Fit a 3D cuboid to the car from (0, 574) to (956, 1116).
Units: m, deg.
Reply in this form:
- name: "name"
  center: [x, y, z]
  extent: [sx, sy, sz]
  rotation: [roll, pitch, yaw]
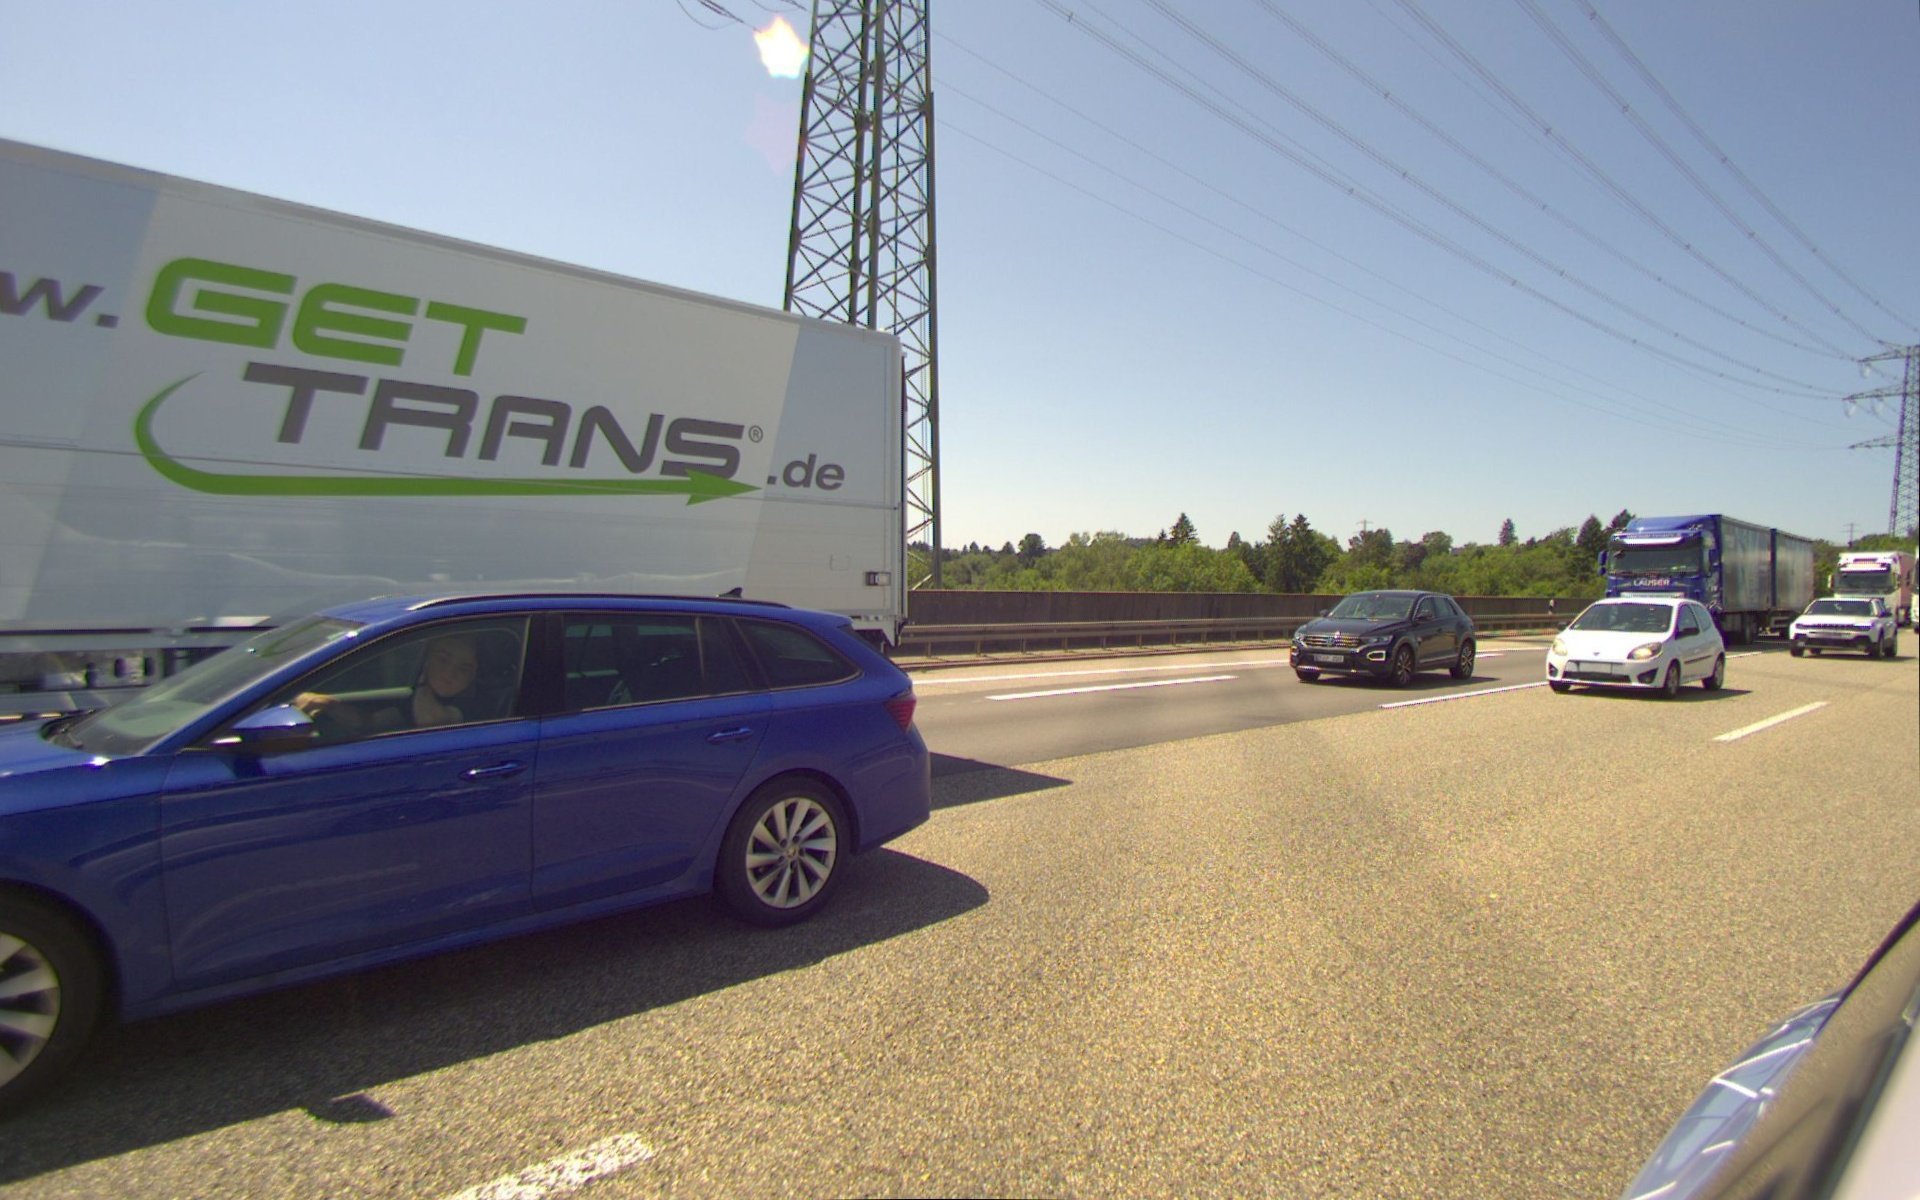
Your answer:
- name: "car"
  center: [-2.235, 0.646, 4.174]
  extent: [4.422, 1.458, 1.712]
  rotation: [0, 1, -41]

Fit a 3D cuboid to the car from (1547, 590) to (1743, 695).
- name: "car"
  center: [10.758, 0.581, 15.811]
  extent: [3.564, 1.458, 1.583]
  rotation: [0, 1, -39]

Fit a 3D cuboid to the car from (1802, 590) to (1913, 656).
- name: "car"
  center: [22.969, 0.526, 25.873]
  extent: [3.688, 1.554, 1.720]
  rotation: [0, 1, -42]

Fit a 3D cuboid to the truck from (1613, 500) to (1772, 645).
- name: "truck"
  center: [23.048, -0.782, 31.651]
  extent: [7.792, 4.018, 2.514]
  rotation: [0, 0, -43]

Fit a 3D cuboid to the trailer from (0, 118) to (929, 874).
- name: "trailer"
  center: [-4.230, -0.511, 7.145]
  extent: [8.149, 3.640, 2.848]
  rotation: [0, 0, -42]

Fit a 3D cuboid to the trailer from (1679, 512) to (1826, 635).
- name: "trailer"
  center: [29.871, -0.951, 37.882]
  extent: [10.699, 4.044, 2.540]
  rotation: [-1, 0, -42]

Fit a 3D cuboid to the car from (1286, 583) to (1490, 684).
- name: "car"
  center: [7.307, 0.488, 17.126]
  extent: [3.821, 1.524, 1.708]
  rotation: [0, 1, -41]

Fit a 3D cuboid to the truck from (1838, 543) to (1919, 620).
- name: "truck"
  center: [49.986, -0.989, 54.803]
  extent: [6.625, 3.941, 2.911]
  rotation: [-1, 0, -42]
